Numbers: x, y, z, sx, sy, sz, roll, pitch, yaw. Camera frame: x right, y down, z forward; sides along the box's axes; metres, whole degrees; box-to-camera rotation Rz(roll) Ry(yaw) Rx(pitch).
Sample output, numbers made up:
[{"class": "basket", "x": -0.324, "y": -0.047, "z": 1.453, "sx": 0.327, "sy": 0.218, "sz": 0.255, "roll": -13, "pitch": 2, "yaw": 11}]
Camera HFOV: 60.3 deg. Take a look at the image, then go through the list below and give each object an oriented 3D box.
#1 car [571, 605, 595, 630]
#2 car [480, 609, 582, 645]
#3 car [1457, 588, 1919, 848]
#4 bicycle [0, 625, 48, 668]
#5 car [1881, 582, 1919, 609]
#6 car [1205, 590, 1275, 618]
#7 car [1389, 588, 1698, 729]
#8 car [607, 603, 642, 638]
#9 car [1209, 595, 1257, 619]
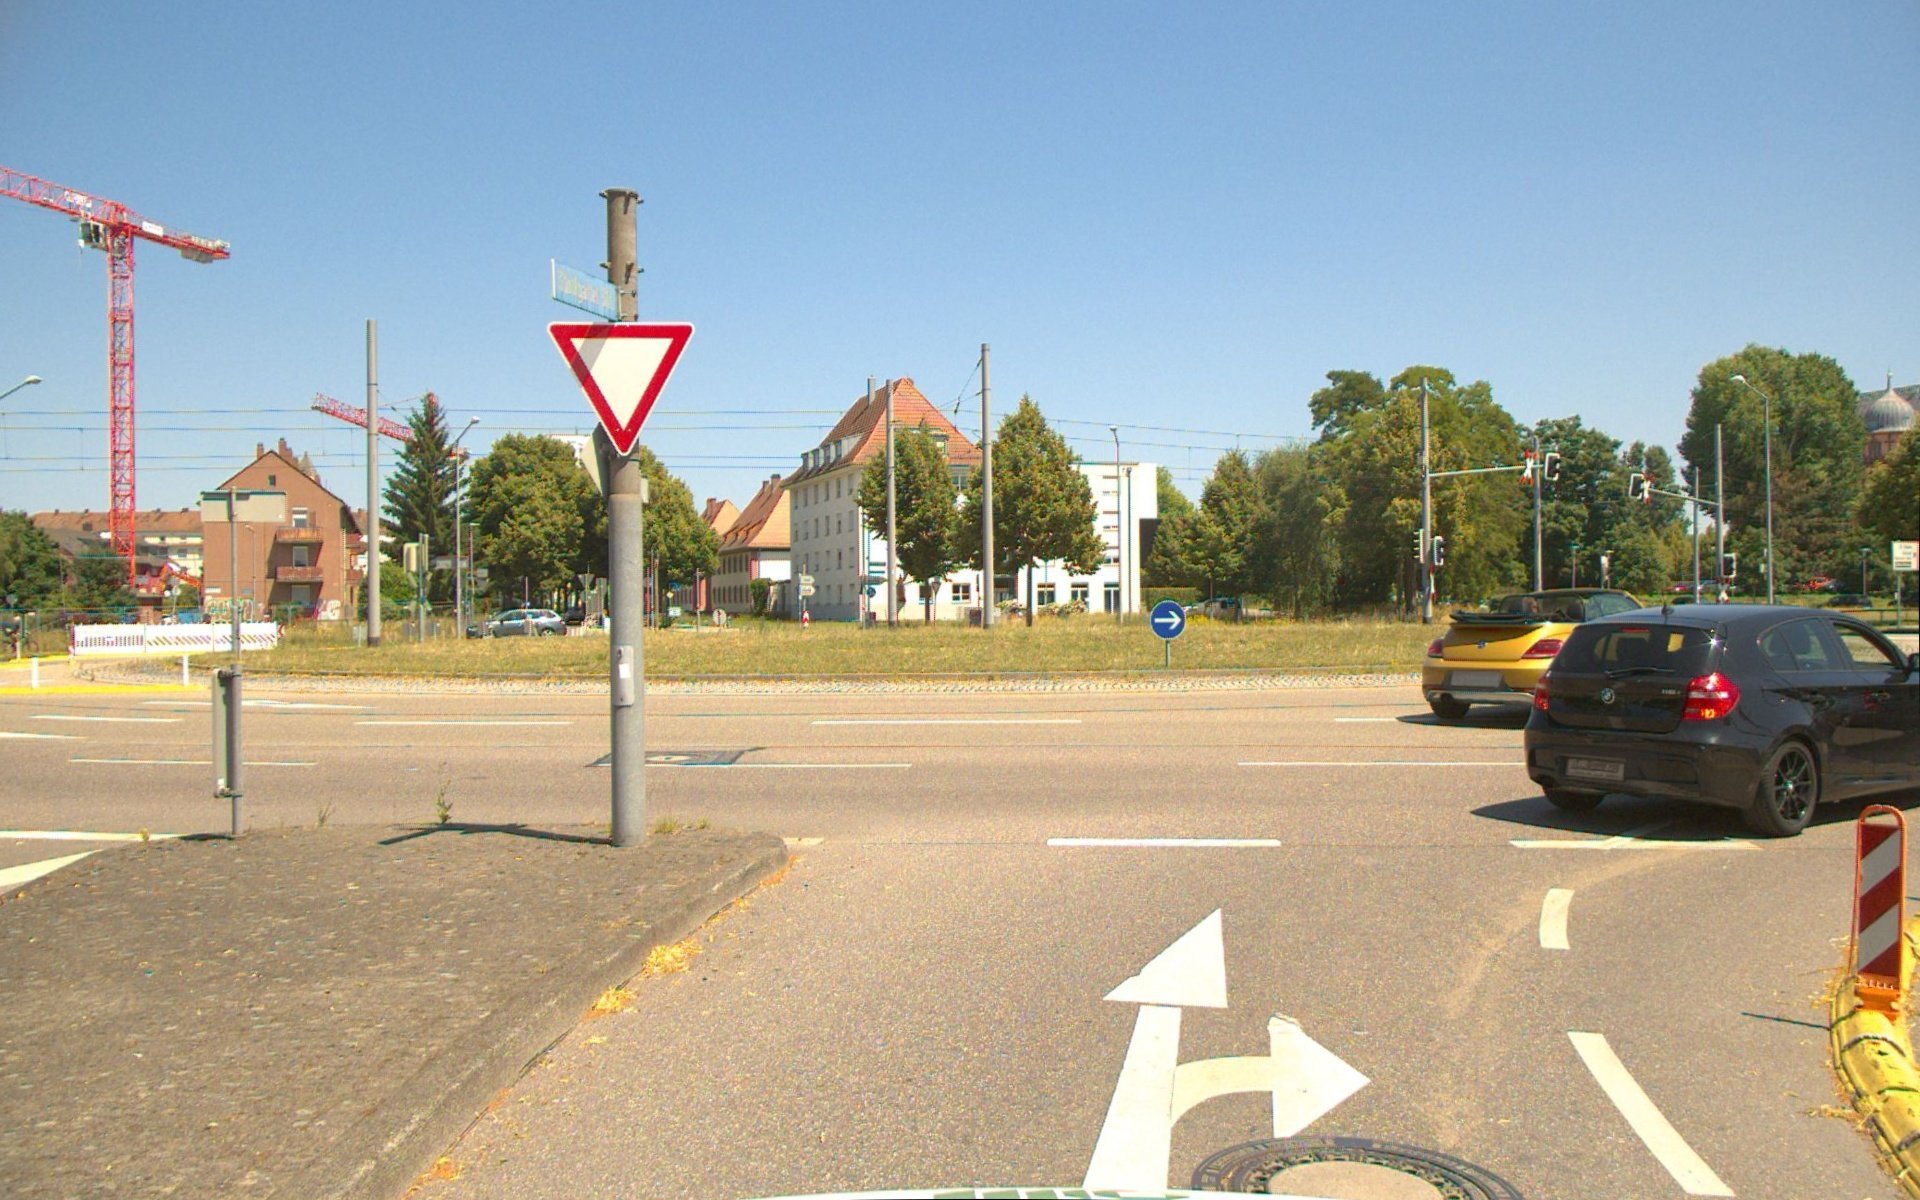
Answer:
[{"class": "car", "x": -31.763, "y": 1.433, "z": 139.443, "sx": 1.959, "sy": 2.049, "sz": 3.987, "roll": 1, "pitch": -1, "yaw": -13}, {"class": "car", "x": -18.081, "y": 1.136, "z": 69.640, "sx": 3.932, "sy": 1.490, "sz": 1.986, "roll": 1, "pitch": -1, "yaw": -23}, {"class": "car", "x": 5.479, "y": 0.679, "z": 11.511, "sx": 3.951, "sy": 1.465, "sz": 1.782, "roll": -1, "pitch": 1, "yaw": -33}, {"class": "bicycle", "x": -38.466, "y": 1.895, "z": 67.653, "sx": 0.547, "sy": 1.714, "sz": 2.084, "roll": 0, "pitch": -1, "yaw": 26}, {"class": "car", "x": 72.288, "y": -0.319, "z": 125.480, "sx": 3.924, "sy": 2.049, "sz": 1.990, "roll": 0, "pitch": -1, "yaw": 39}, {"class": "car", "x": 17.809, "y": 0.242, "z": 105.192, "sx": 3.917, "sy": 1.713, "sz": 1.994, "roll": 1, "pitch": -1, "yaw": -13}, {"class": "car", "x": 6.636, "y": 0.589, "z": 18.663, "sx": 3.630, "sy": 1.427, "sz": 1.804, "roll": 0, "pitch": 0, "yaw": -42}, {"class": "car", "x": -20.200, "y": 1.205, "z": 99.583, "sx": 1.959, "sy": 2.049, "sz": 3.987, "roll": 1, "pitch": -1, "yaw": -13}, {"class": "car", "x": 23.621, "y": 0.622, "z": 143.125, "sx": 3.902, "sy": 2.049, "sz": 2.001, "roll": 1, "pitch": -1, "yaw": 15}]
